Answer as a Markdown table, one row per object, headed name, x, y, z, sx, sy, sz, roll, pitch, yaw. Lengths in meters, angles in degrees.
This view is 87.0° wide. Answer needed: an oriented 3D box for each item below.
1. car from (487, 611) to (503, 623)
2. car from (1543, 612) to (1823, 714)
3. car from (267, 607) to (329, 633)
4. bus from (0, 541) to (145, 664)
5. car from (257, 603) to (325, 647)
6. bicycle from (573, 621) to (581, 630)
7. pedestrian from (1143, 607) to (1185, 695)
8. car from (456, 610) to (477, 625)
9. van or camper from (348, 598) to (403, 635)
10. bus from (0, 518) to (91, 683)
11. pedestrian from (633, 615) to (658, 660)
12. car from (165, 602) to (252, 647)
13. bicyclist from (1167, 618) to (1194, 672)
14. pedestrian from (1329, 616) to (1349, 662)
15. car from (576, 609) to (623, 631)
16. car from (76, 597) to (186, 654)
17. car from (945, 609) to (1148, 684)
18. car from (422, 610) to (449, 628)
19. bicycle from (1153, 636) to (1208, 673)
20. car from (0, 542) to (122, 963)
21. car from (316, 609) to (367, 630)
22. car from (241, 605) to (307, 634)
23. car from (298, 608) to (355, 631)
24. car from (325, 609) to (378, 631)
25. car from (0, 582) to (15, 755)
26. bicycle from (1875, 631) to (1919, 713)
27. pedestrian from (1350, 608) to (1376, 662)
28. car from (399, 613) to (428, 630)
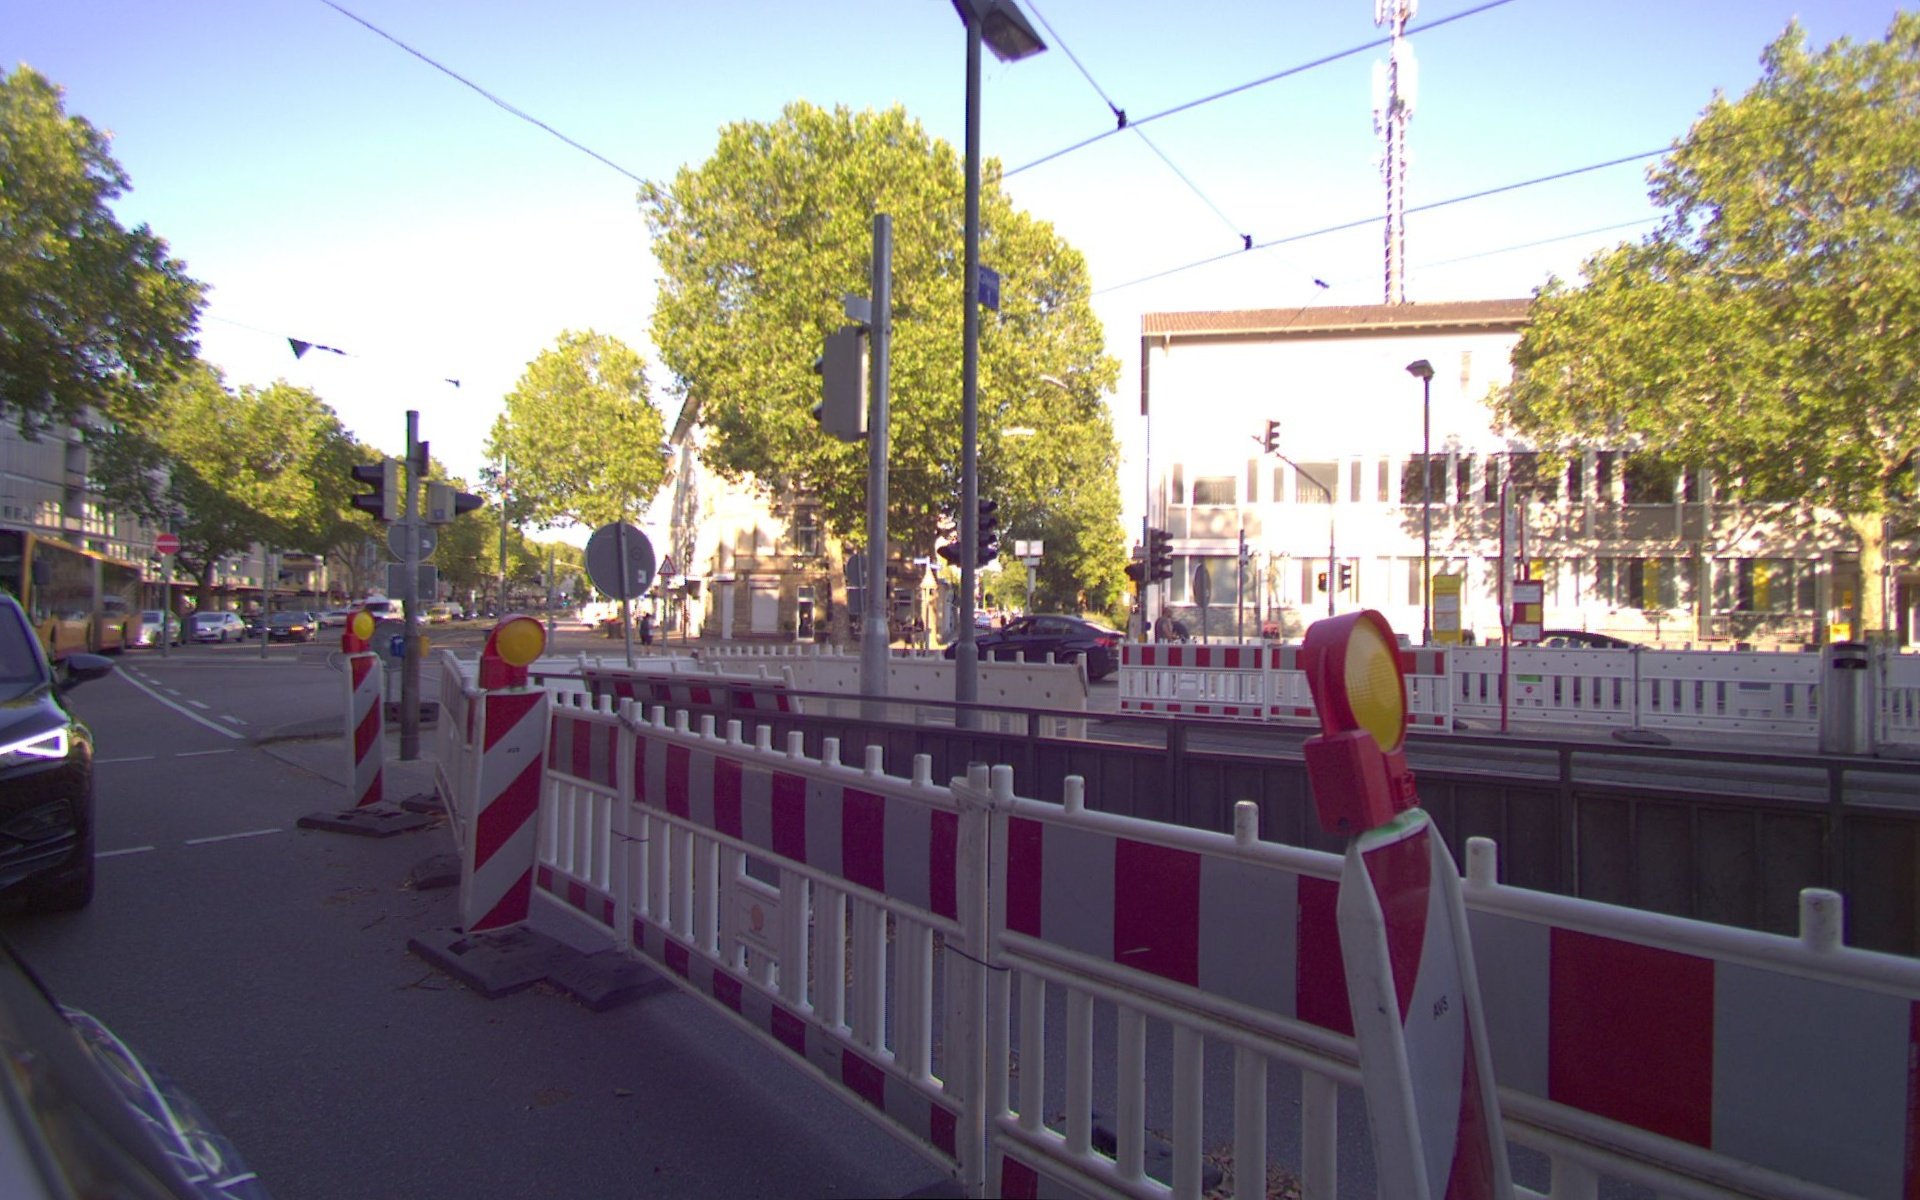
| name | x | y | z | sx | sy | sz | roll | pitch | yaw |
| --- | --- | --- | --- | --- | --- | --- | --- | --- | --- |
| car | -71.584 | 2.601 | 155.847 | 1.809 | 1.816 | 4.143 | 1 | -1 | -19 |
| car | 13.103 | 1.063 | 18.536 | 3.995 | 1.674 | 1.974 | -1 | -2 | 38 |
| car | -54.202 | 1.644 | 82.889 | 3.938 | 2.029 | 2.002 | 1 | -2 | -42 |
| bus | -26.301 | 0.130 | 29.498 | 2.676 | 3.130 | 8.622 | 1 | -1 | -31 |
| car | -31.903 | 1.178 | 48.369 | 1.965 | 2.029 | 4.013 | 1 | -1 | -22 |
| bicycle | -51.273 | 3.367 | 135.610 | 0.837 | 1.202 | 2.474 | 1 | -1 | -24 |
| pedestrian | 4.126 | 1.019 | 20.476 | 0.545 | 1.760 | 0.693 | 1 | -1 | -24 |
| car | -61.899 | 2.206 | 126.896 | 1.809 | 1.816 | 4.143 | 1 | -1 | -19 |
| van or camper | -44.876 | 1.286 | 77.877 | 2.385 | 2.739 | 6.151 | 1 | -1 | -18 |
| bus | -21.362 | 0.055 | 22.260 | 2.678 | 3.130 | 8.641 | 1 | -2 | -36 |
| pedestrian | -10.915 | 1.305 | 35.151 | 0.594 | 1.545 | 0.746 | 1 | -2 | -37 |
| car | -35.114 | 1.151 | 47.397 | 1.966 | 2.029 | 4.012 | 1 | -1 | -17 |
| bicyclist | 6.823 | 1.386 | 31.286 | 0.643 | 1.626 | 0.544 | -1 | -2 | 41 |
| pedestrian | 12.200 | 1.259 | 32.533 | 0.582 | 1.466 | 0.582 | 0 | -2 | 23 |
| car | -34.631 | 1.902 | 97.321 | 1.990 | 2.029 | 3.963 | 0 | -1 | 27 |
| car | -31.083 | 0.960 | 38.091 | 1.965 | 2.029 | 4.111 | 1 | -1 | -21 |
| car | 2.090 | 1.074 | 24.688 | 4.538 | 1.674 | 1.981 | 0 | -1 | 28 |
| car | -53.405 | 1.977 | 103.154 | 1.809 | 1.816 | 4.143 | 1 | -1 | -19 |
| bicycle | 6.809 | 1.668 | 31.290 | 1.621 | 1.073 | 0.543 | -1 | -2 | 41 |
| car | -5.767 | 0.626 | 5.051 | 3.998 | 1.719 | 1.818 | -1 | -2 | 41 |
| car | -60.427 | 1.894 | 98.870 | 3.938 | 2.029 | 2.002 | 1 | -2 | -42 |
| car | -50.897 | 1.461 | 75.181 | 3.932 | 2.029 | 2.006 | 1 | -2 | -31 |
| car | -56.208 | 1.752 | 89.808 | 3.938 | 2.029 | 2.002 | 2 | -2 | -42 |
| car | -57.475 | 1.908 | 95.570 | 3.938 | 2.029 | 2.002 | 1 | -2 | -42 |
| car | -11.300 | 0.653 | 10.352 | 4.074 | 1.655 | 1.973 | -1 | -2 | 41 |
| bicycle | 15.336 | 1.091 | 15.051 | 2.475 | 1.217 | 0.683 | -1 | -2 | 36 |
| pedestrian | 11.858 | 1.035 | 29.773 | 0.649 | 1.564 | 0.563 | 0 | -2 | 28 |
| car | -48.686 | 1.932 | 90.206 | 1.675 | 1.481 | 3.776 | 1 | -1 | -19 |
